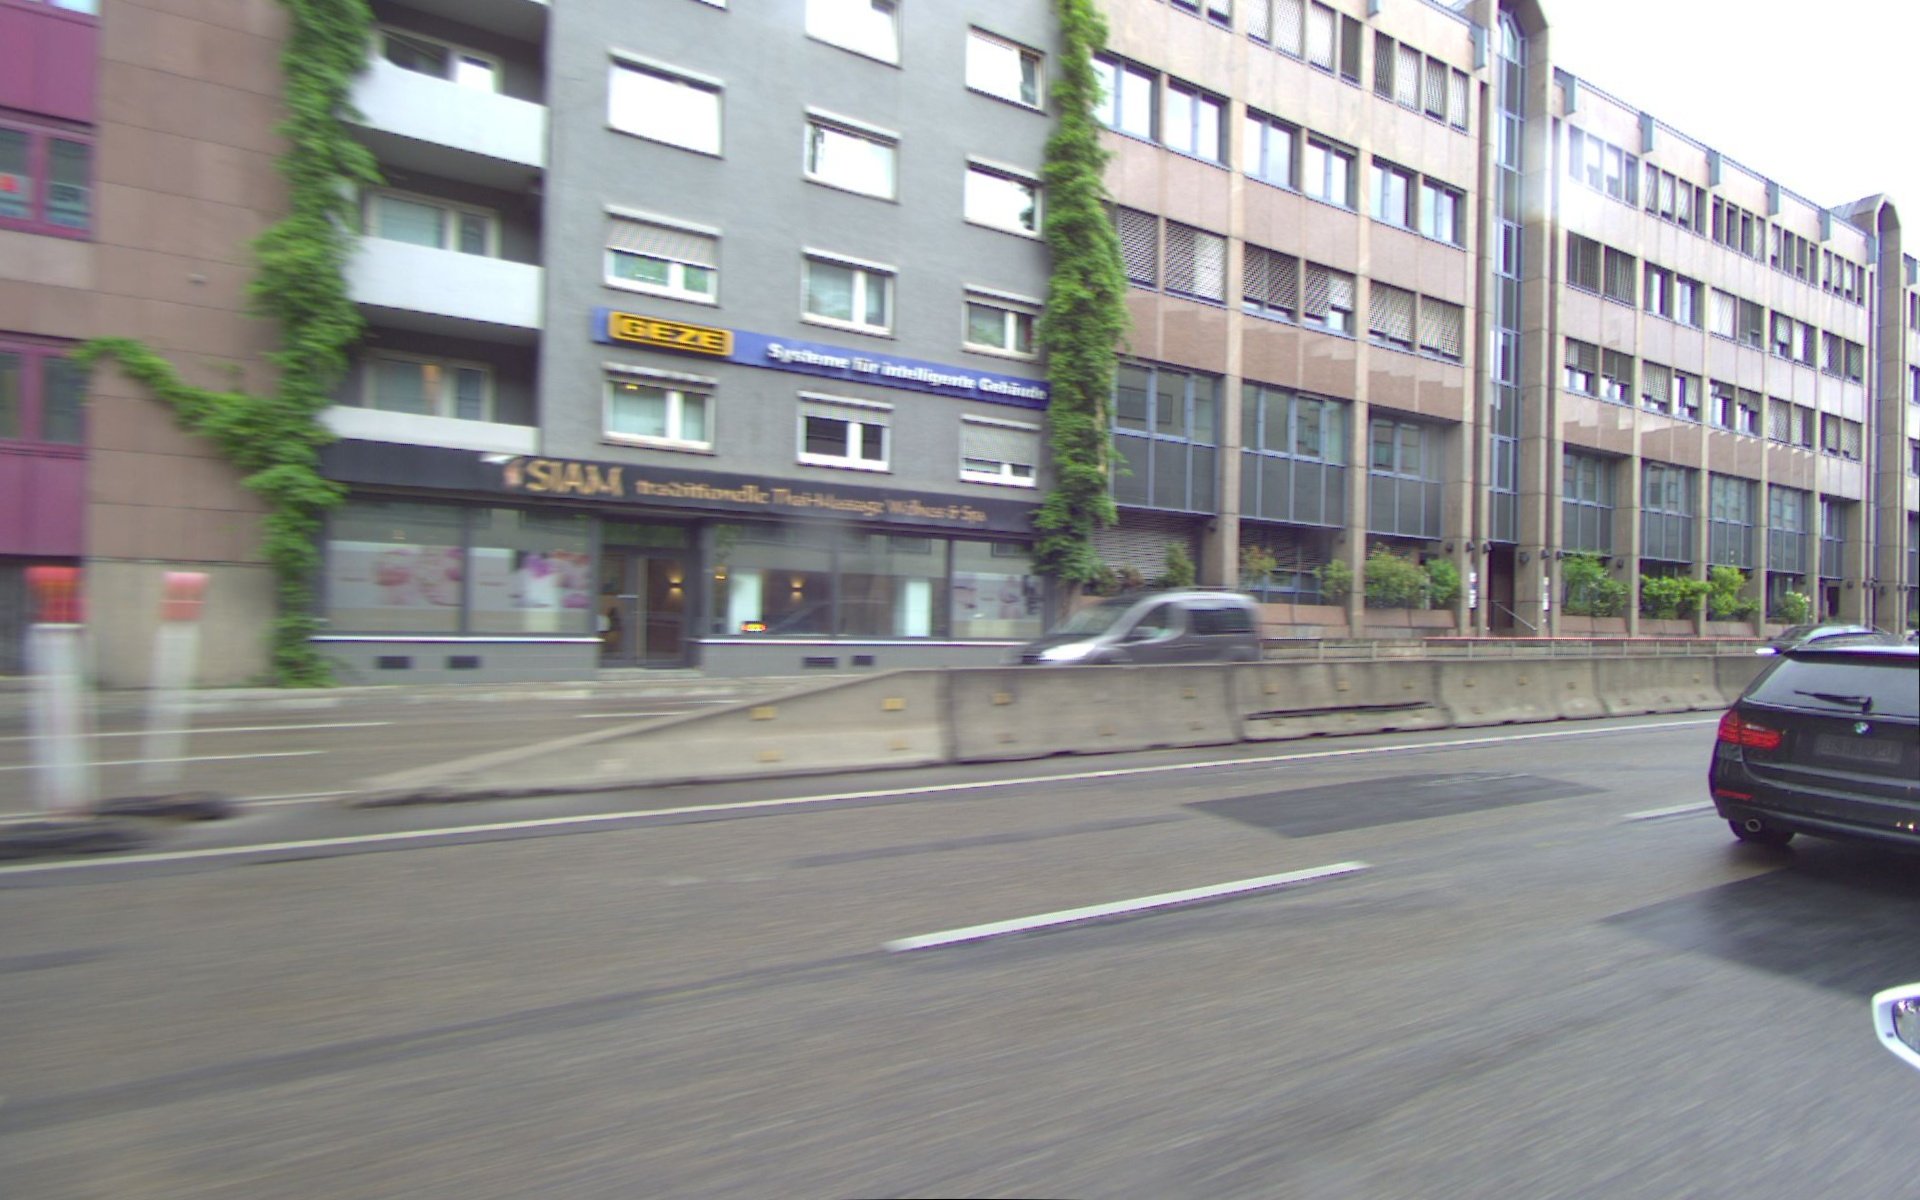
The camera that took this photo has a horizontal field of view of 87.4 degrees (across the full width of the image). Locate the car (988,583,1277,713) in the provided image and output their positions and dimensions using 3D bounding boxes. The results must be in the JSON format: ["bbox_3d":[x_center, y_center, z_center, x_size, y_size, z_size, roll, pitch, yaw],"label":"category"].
[{"bbox_3d":[2.743,0.721,15.644,4.373,1.793,1.713,2,-1,-30],"label":"car"}]

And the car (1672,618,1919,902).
[{"bbox_3d":[6.815,0.874,6.612,4.560,1.445,1.782,1,0,-31],"label":"car"}]

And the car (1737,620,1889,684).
[{"bbox_3d":[22.421,1.323,26.369,4.183,1.553,1.851,2,-1,-32],"label":"car"}]
